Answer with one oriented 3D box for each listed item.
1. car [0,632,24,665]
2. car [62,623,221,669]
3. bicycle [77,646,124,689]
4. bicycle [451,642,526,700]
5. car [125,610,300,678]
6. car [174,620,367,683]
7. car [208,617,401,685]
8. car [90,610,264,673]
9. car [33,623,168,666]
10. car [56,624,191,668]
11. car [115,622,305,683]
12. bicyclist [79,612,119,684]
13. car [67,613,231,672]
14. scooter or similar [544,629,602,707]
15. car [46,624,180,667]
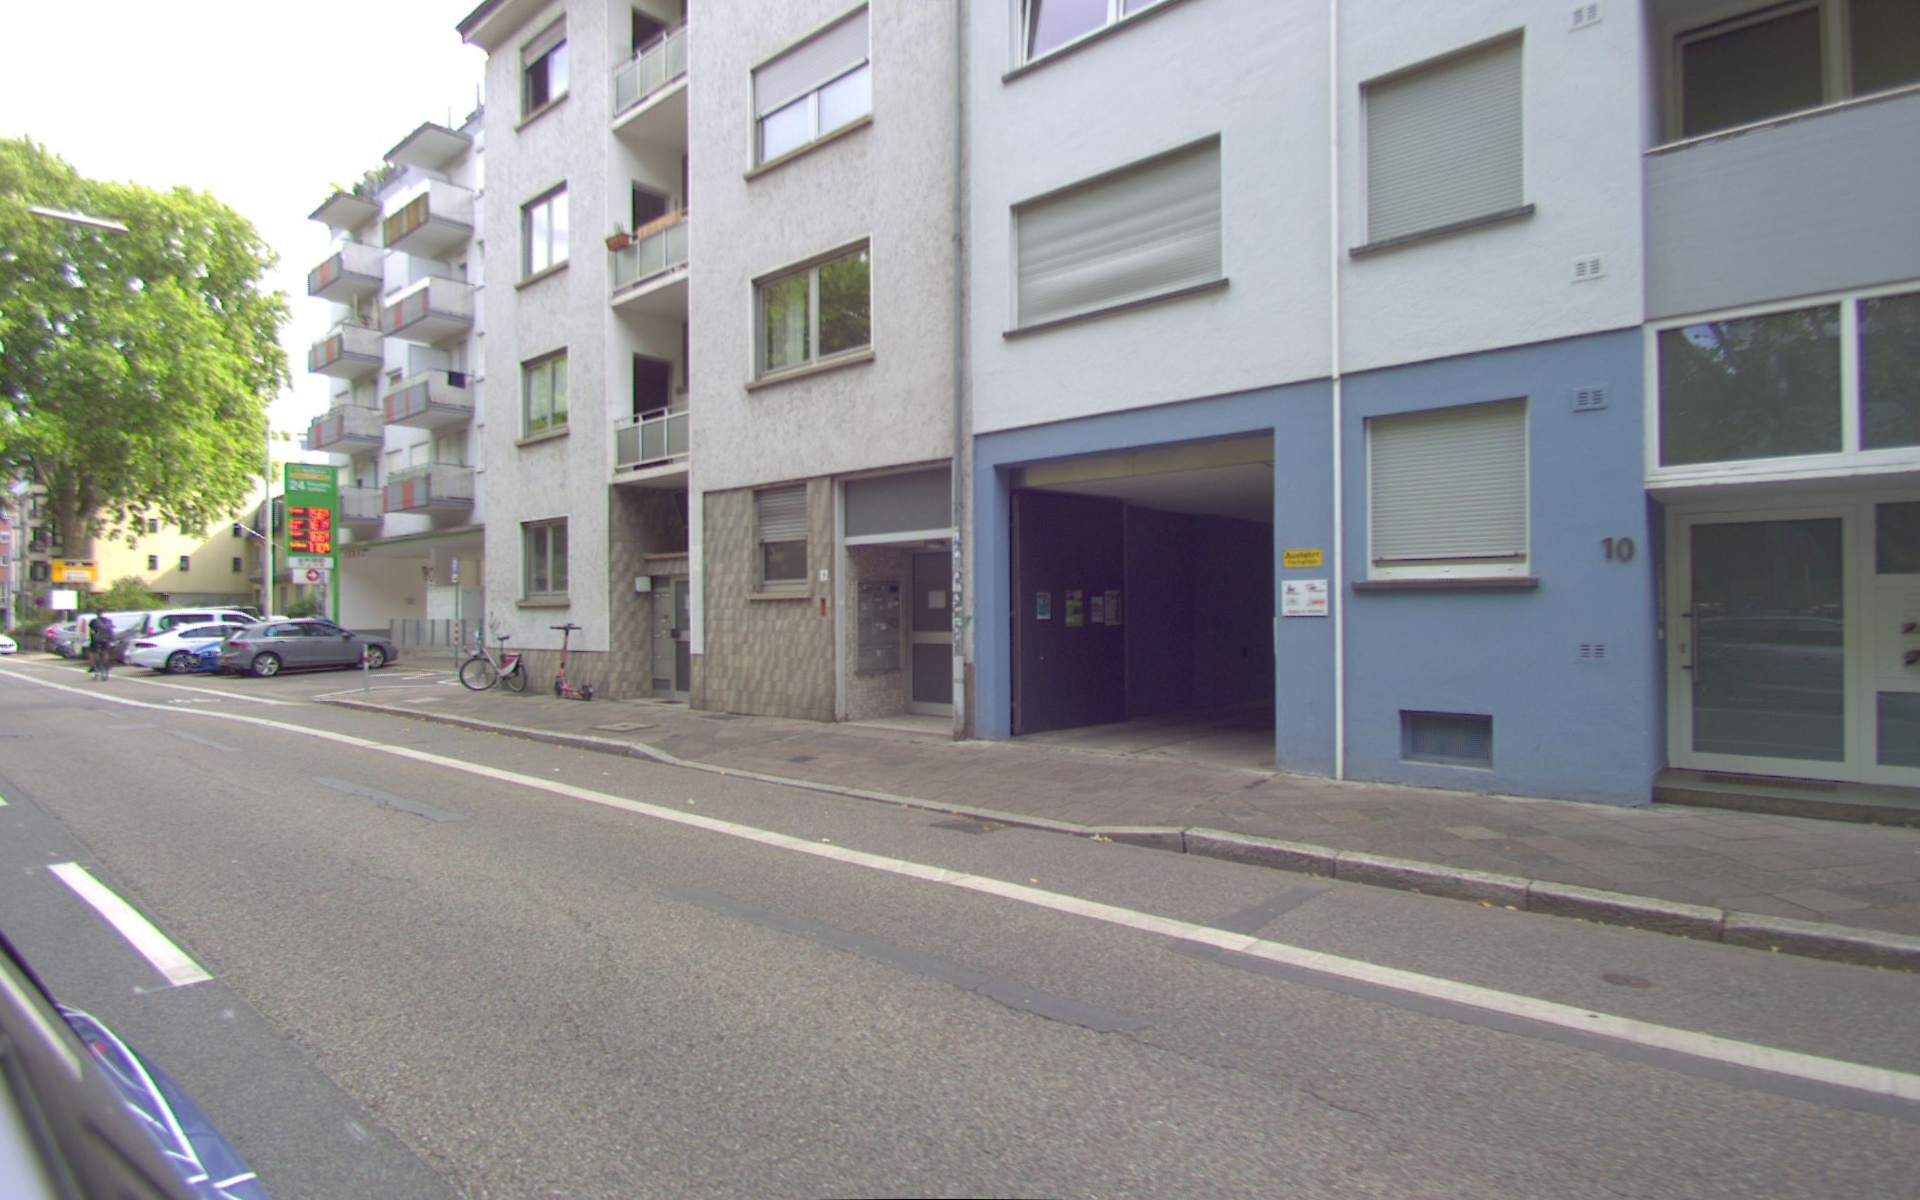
[{"bbox_3d":[-51.434,2.541,52.701,3.954,1.660,1.931,-1,-1,9],"label":"car"},{"bbox_3d":[-32.468,1.793,40.267,1.873,1.481,4.656,-2,1,42],"label":"car"},{"bbox_3d":[-22.382,1.726,26.337,2.076,1.022,0.639,-1,0,41],"label":"bicycle"},{"bbox_3d":[-8.466,1.255,18.163,1.662,0.957,0.591,-2,-1,41],"label":"bicycle"},{"bbox_3d":[-23.853,1.346,32.398,1.923,1.862,4.167,-2,1,41],"label":"car"},{"bbox_3d":[-19.859,1.436,29.294,1.909,1.462,4.256,-2,1,41],"label":"car"},{"bbox_3d":[-18.029,1.355,27.961,1.836,1.525,4.108,-2,1,41],"label":"car"},{"bbox_3d":[-28.675,1.460,37.170,1.993,1.948,4.717,-2,1,42],"label":"car"},{"bbox_3d":[-39.150,1.999,46.192,1.753,1.618,4.471,-2,1,42],"label":"car"},{"bbox_3d":[-35.742,1.927,43.344,1.719,1.522,4.220,-2,1,42],"label":"car"},{"bbox_3d":[-22.292,1.515,30.186,1.873,1.462,4.227,-2,1,41],"label":"car"},{"bbox_3d":[-22.451,1.228,26.395,1.045,1.824,0.645,-1,0,41],"label":"bicyclist"},{"bbox_3d":[-30.777,1.568,38.503,1.949,1.873,4.567,-2,1,42],"label":"car"},{"bbox_3d":[-6.318,1.092,16.518,1.201,1.231,0.346,-2,-1,41],"label":"scooter or similar"},{"bbox_3d":[-37.362,1.962,44.722,1.732,1.560,4.316,-2,1,42],"label":"car"}]
